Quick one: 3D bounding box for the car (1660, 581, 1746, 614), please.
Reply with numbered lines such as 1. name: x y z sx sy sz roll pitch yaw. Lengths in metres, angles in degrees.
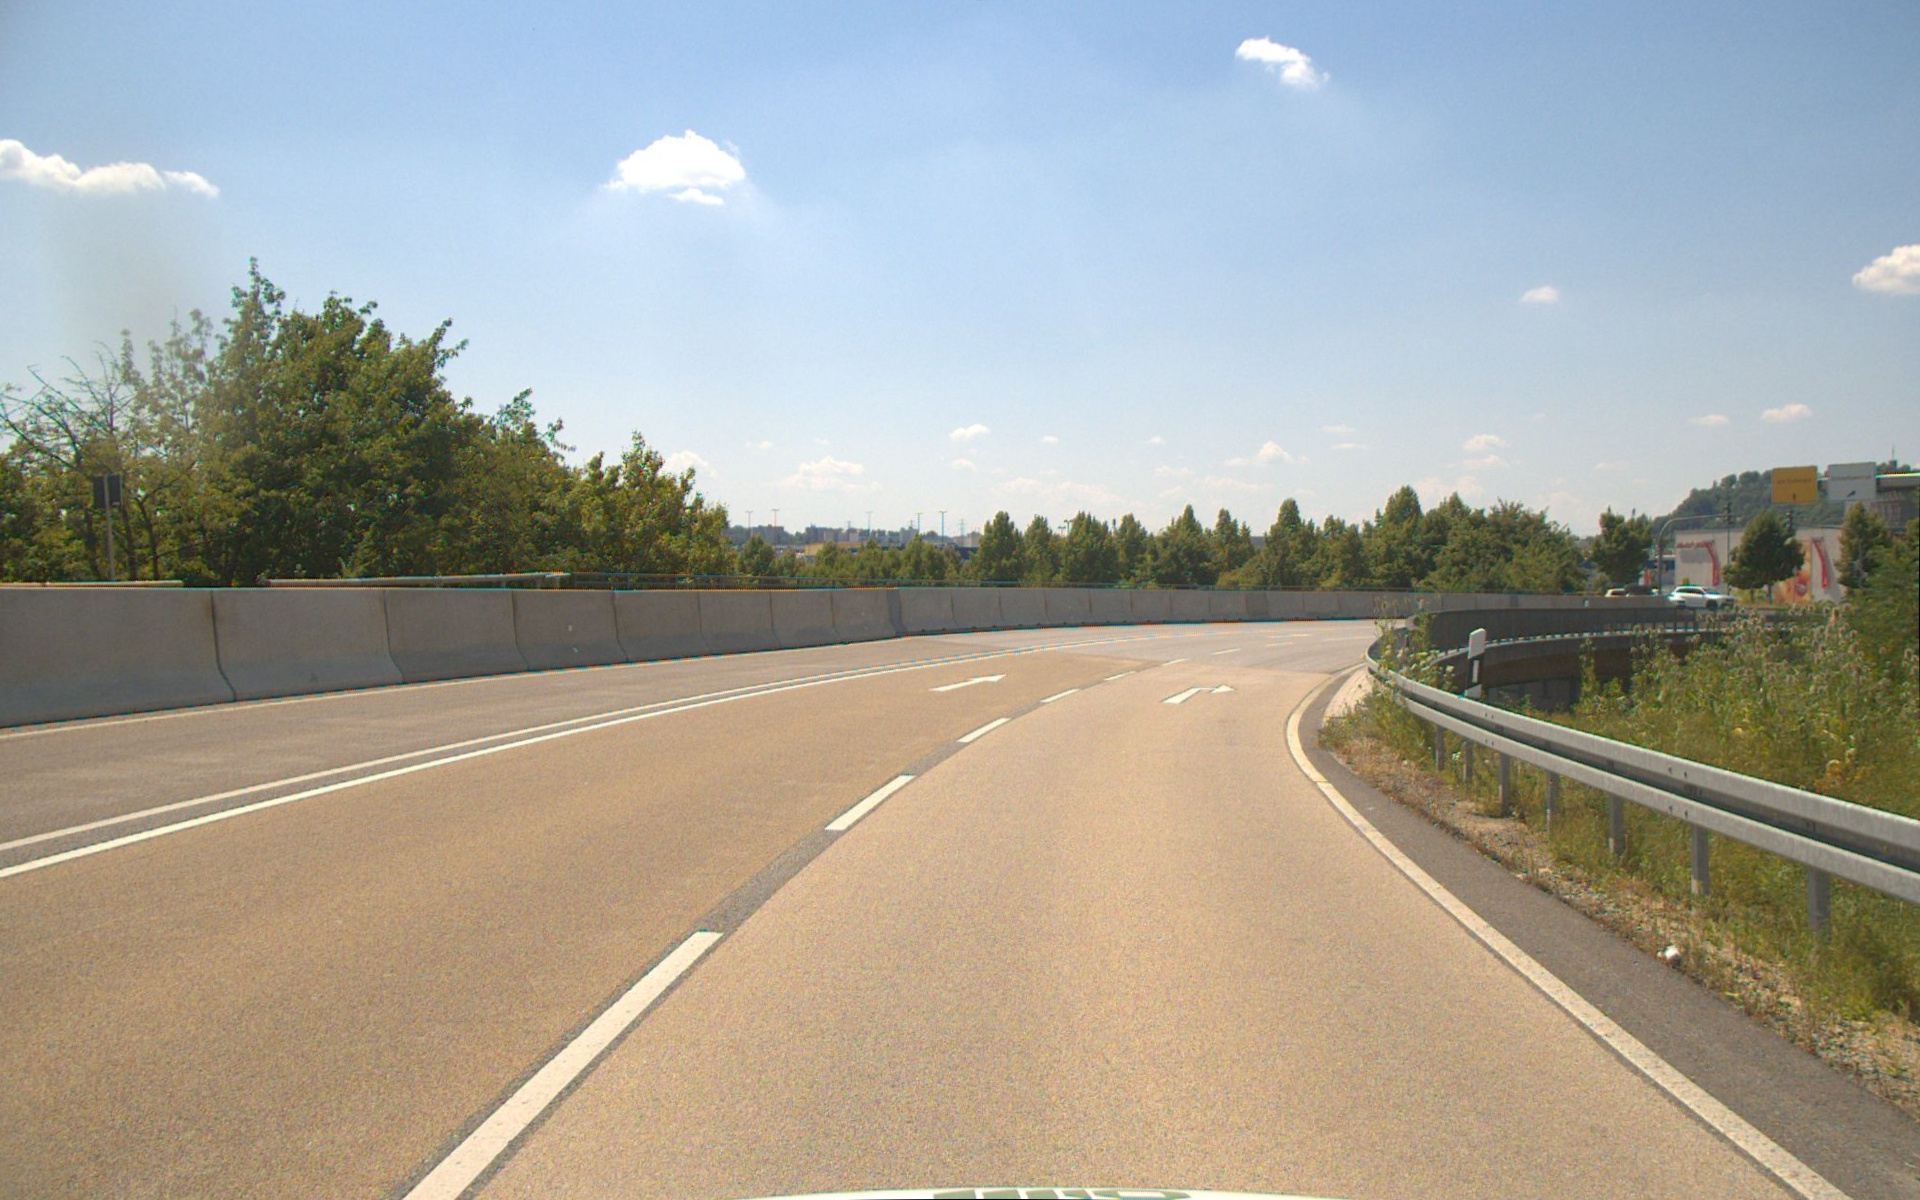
1. car: 49.574 -0.198 110.369 2.081 1.999 4.796 2 1 -39
